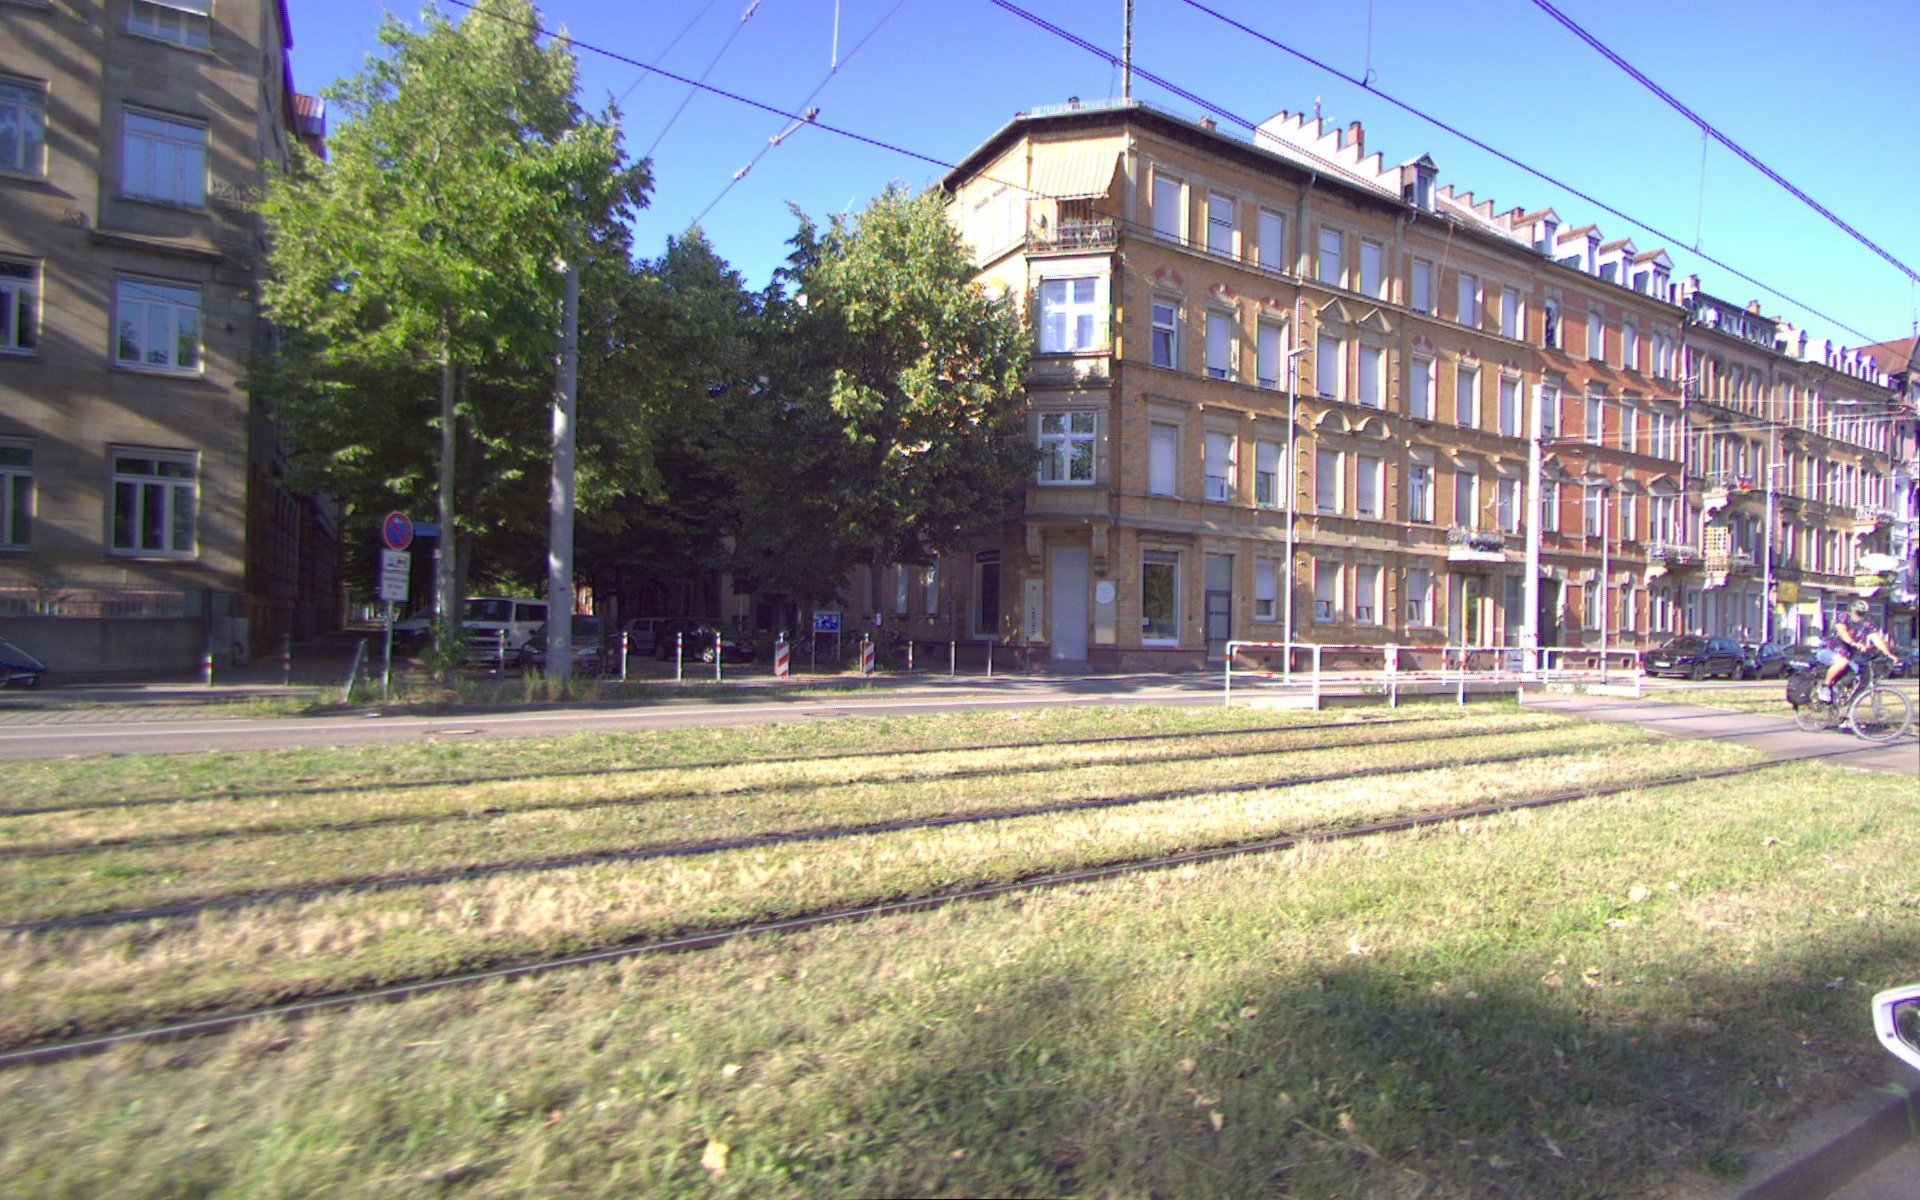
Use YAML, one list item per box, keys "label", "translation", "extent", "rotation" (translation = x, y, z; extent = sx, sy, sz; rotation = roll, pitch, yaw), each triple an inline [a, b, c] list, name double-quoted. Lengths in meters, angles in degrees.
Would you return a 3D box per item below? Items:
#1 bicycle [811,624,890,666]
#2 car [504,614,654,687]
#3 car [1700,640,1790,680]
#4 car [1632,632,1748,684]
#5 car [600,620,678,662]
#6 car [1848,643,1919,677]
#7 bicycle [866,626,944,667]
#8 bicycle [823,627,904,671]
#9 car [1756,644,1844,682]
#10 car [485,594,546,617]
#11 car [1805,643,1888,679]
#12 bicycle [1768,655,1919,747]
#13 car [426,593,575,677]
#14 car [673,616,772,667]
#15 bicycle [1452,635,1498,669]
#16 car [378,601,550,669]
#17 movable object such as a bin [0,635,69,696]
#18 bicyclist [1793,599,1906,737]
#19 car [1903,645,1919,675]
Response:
- label: "bicycle"
  translation: [-3.278, 1.347, 30.239]
  extent: [2.216, 1.194, 0.781]
  rotation: [2, 1, -33]
- label: "car"
  translation: [-8.846, 1.111, 23.749]
  extent: [1.961, 1.491, 4.191]
  rotation: [2, -1, -1]
- label: "car"
  translation: [32.270, 2.451, 41.270]
  extent: [3.491, 1.486, 1.766]
  rotation: [2, 0, -31]
- label: "car"
  translation: [28.262, 2.194, 38.877]
  extent: [4.505, 1.777, 2.005]
  rotation: [1, 1, -31]
- label: "car"
  translation: [-12.900, 1.606, 40.223]
  extent: [1.979, 1.491, 4.154]
  rotation: [2, -1, -32]
- label: "car"
  translation: [44.603, 2.866, 48.312]
  extent: [3.864, 1.425, 1.767]
  rotation: [1, 1, -31]
- label: "bicycle"
  translation: [-1.658, 1.407, 30.341]
  extent: [2.213, 1.194, 0.781]
  rotation: [2, 0, -29]
- label: "bicycle"
  translation: [-2.796, 1.409, 29.094]
  extent: [2.206, 1.194, 0.784]
  rotation: [2, 0, -19]
- label: "car"
  translation: [36.534, 2.699, 43.690]
  extent: [3.864, 1.425, 1.767]
  rotation: [1, 1, -31]
- label: "car"
  translation: [-41.412, 0.556, 93.617]
  extent: [4.957, 1.943, 2.048]
  rotation: [2, 0, -34]
- label: "car"
  translation: [40.711, 2.770, 46.124]
  extent: [3.864, 1.425, 1.767]
  rotation: [1, 1, -31]
- label: "bicycle"
  translation: [11.672, 1.288, 13.271]
  extent: [0.751, 1.054, 1.961]
  rotation: [0, -1, 13]
- label: "car"
  translation: [-12.417, 0.861, 27.516]
  extent: [1.961, 2.040, 4.613]
  rotation: [2, 0, -1]
- label: "car"
  translation: [-8.051, 1.373, 33.784]
  extent: [1.979, 1.491, 4.154]
  rotation: [2, -1, -32]
- label: "bicycle"
  translation: [19.270, 1.946, 37.595]
  extent: [1.730, 1.196, 0.695]
  rotation: [2, 1, -30]
- label: "car"
  translation: [-15.878, 1.051, 32.509]
  extent: [2.026, 1.943, 5.010]
  rotation: [2, 0, 19]
- label: "movable object such as a bin"
  translation: [-15.452, 1.051, 16.325]
  extent: [1.223, 0.876, 1.238]
  rotation: [2, 0, -32]
- label: "bicyclist"
  translation: [11.663, 0.870, 13.203]
  extent: [0.751, 1.738, 0.923]
  rotation: [0, -1, 13]
- label: "car"
  translation: [49.712, 3.076, 50.940]
  extent: [3.933, 1.425, 1.767]
  rotation: [1, 1, -31]
